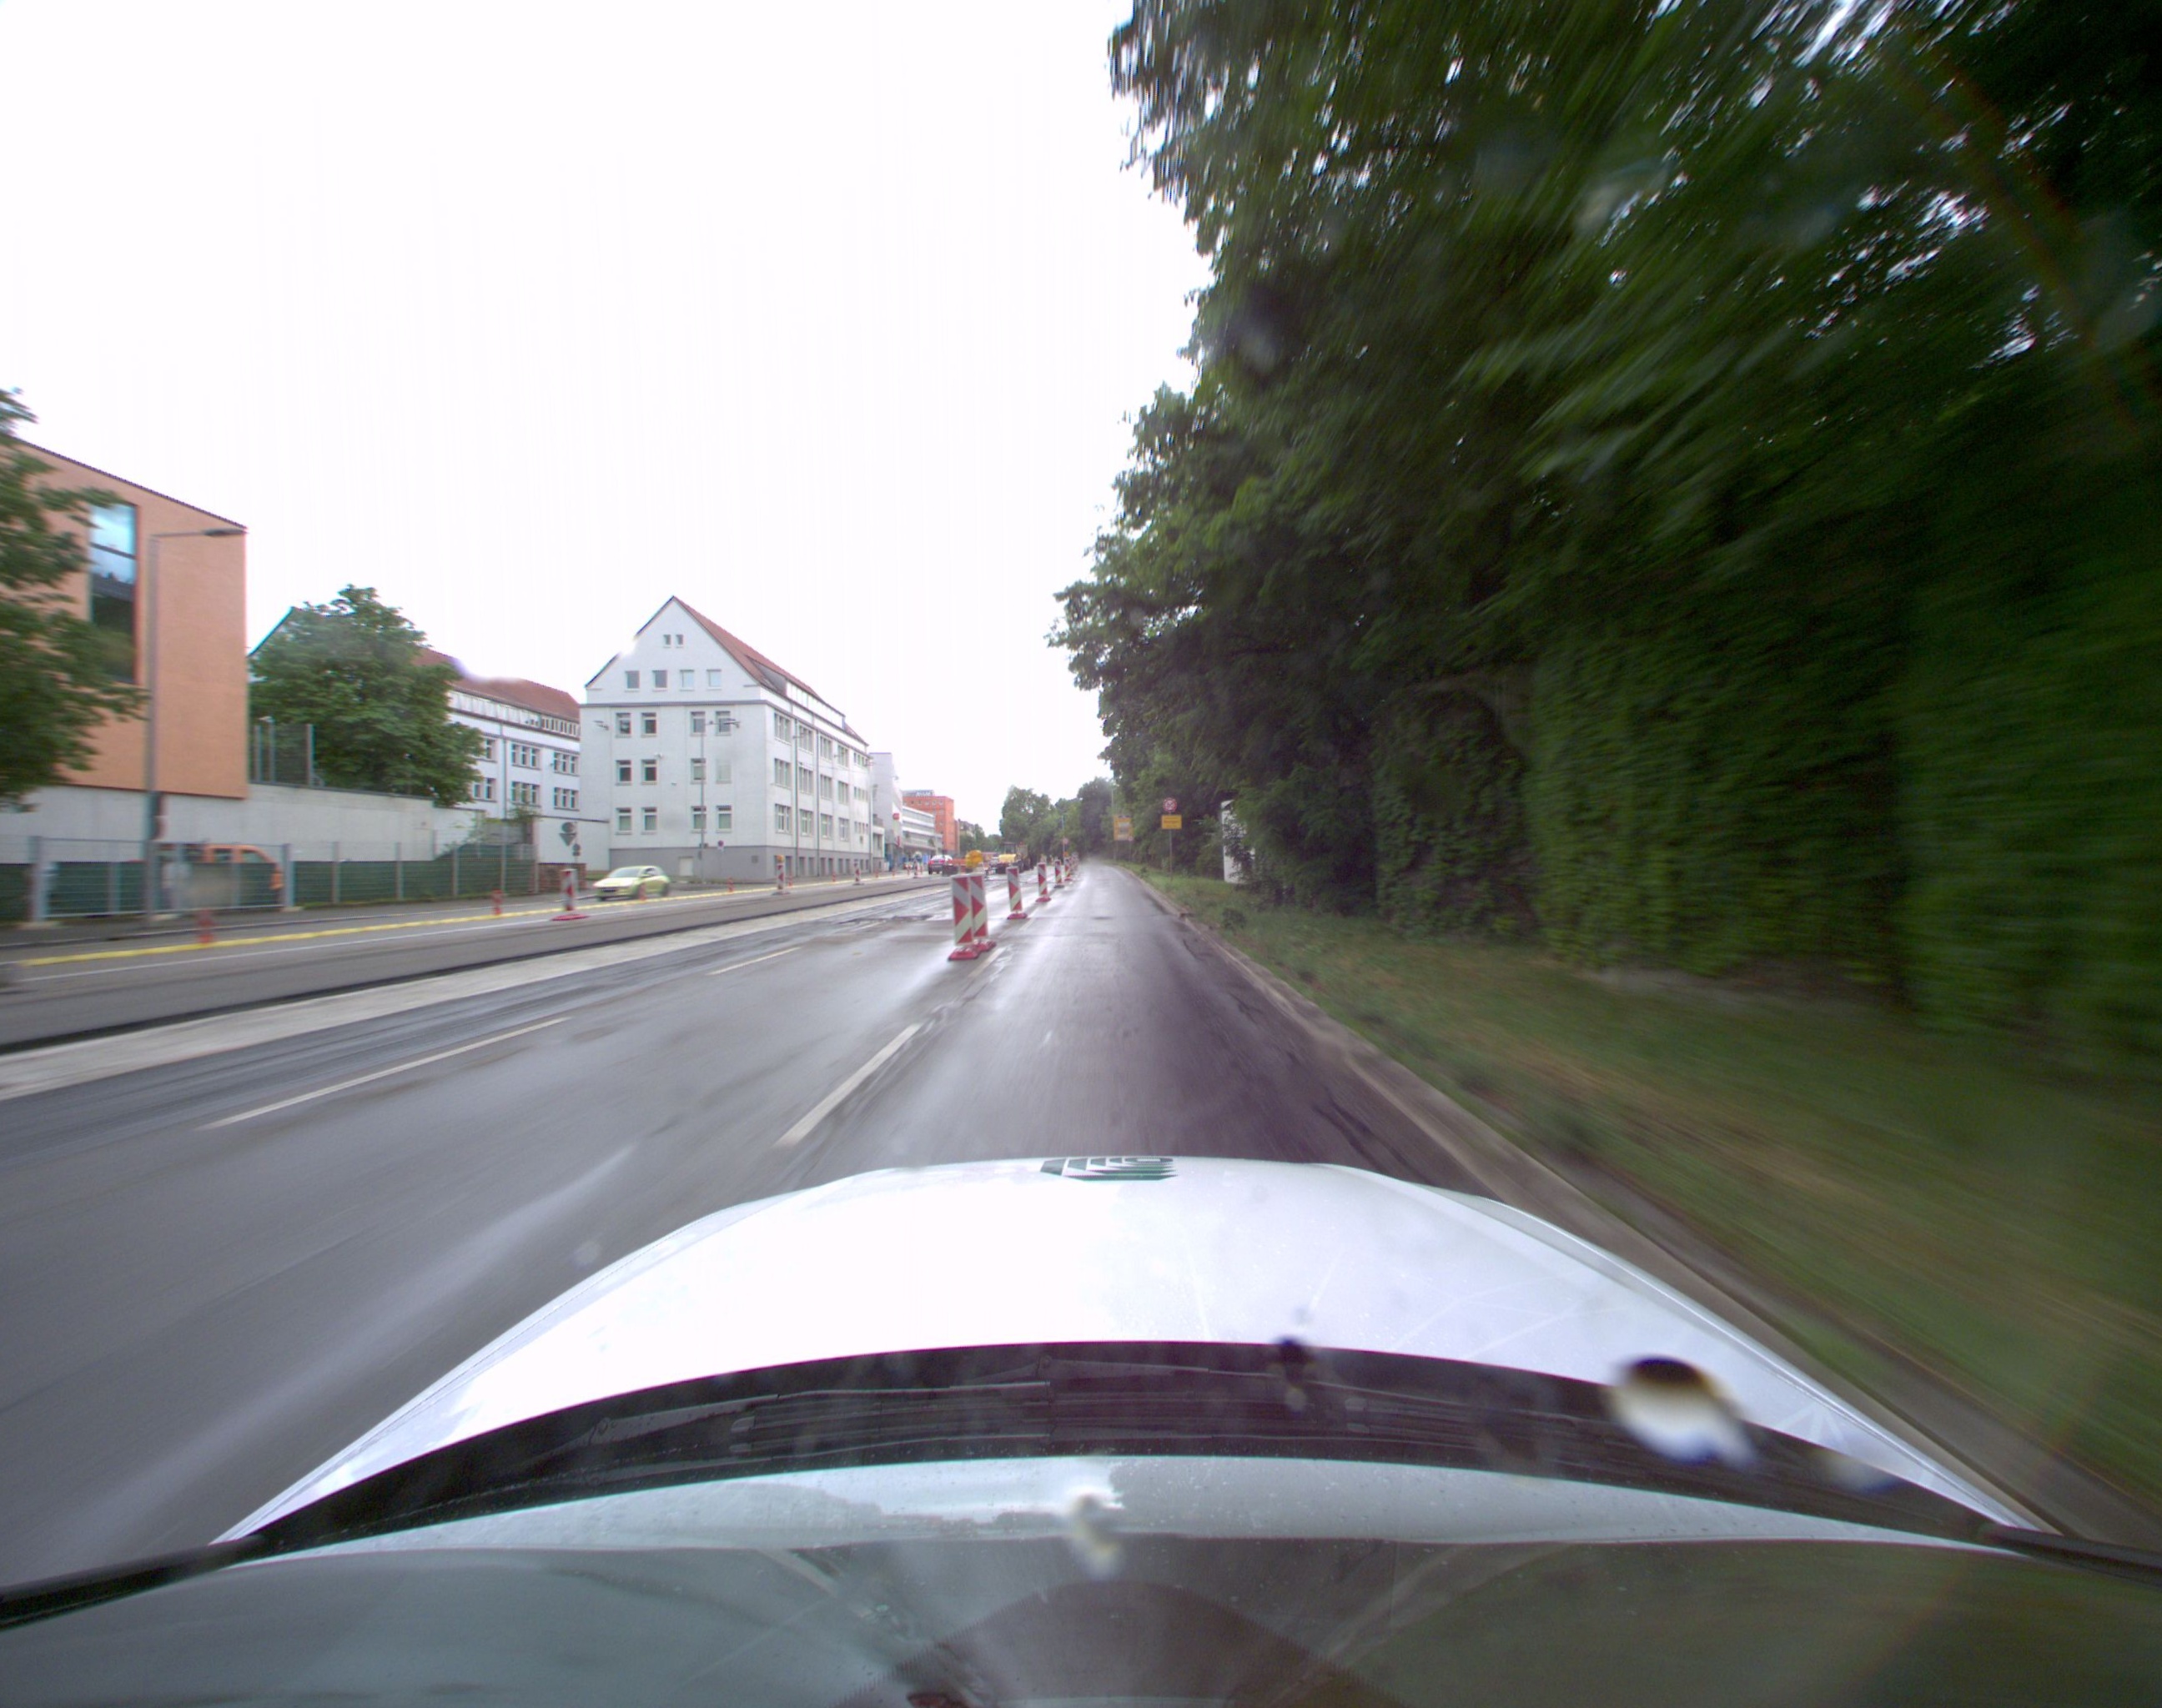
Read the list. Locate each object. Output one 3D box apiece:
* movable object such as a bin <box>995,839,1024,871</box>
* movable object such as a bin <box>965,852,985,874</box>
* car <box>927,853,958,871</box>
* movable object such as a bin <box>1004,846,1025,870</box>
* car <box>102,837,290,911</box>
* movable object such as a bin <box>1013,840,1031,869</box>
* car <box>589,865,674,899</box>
[{"bbox_3d":[-6.180,0.089,70.898,1.895,2.609,5.384,-2,0,1],"label":"movable object such as a bin"},{"bbox_3d":[-8.120,0.667,62.503,1.079,1.644,2.439,-1,0,1],"label":"movable object such as a bin"},{"bbox_3d":[-12.796,0.739,75.415,1.885,1.650,4.398,-1,0,2],"label":"car"},{"bbox_3d":[-6.172,0.346,76.205,1.357,2.090,5.031,-2,0,1],"label":"movable object such as a bin"},{"bbox_3d":[-28.156,0.591,26.131,1.604,2.170,4.000,-1,0,1],"label":"car"},{"bbox_3d":[-6.230,0.049,85.930,1.461,3.008,3.723,-3,0,0],"label":"movable object such as a bin"},{"bbox_3d":[-19.934,1.206,36.262,1.548,1.368,3.805,-3,0,1],"label":"car"}]
